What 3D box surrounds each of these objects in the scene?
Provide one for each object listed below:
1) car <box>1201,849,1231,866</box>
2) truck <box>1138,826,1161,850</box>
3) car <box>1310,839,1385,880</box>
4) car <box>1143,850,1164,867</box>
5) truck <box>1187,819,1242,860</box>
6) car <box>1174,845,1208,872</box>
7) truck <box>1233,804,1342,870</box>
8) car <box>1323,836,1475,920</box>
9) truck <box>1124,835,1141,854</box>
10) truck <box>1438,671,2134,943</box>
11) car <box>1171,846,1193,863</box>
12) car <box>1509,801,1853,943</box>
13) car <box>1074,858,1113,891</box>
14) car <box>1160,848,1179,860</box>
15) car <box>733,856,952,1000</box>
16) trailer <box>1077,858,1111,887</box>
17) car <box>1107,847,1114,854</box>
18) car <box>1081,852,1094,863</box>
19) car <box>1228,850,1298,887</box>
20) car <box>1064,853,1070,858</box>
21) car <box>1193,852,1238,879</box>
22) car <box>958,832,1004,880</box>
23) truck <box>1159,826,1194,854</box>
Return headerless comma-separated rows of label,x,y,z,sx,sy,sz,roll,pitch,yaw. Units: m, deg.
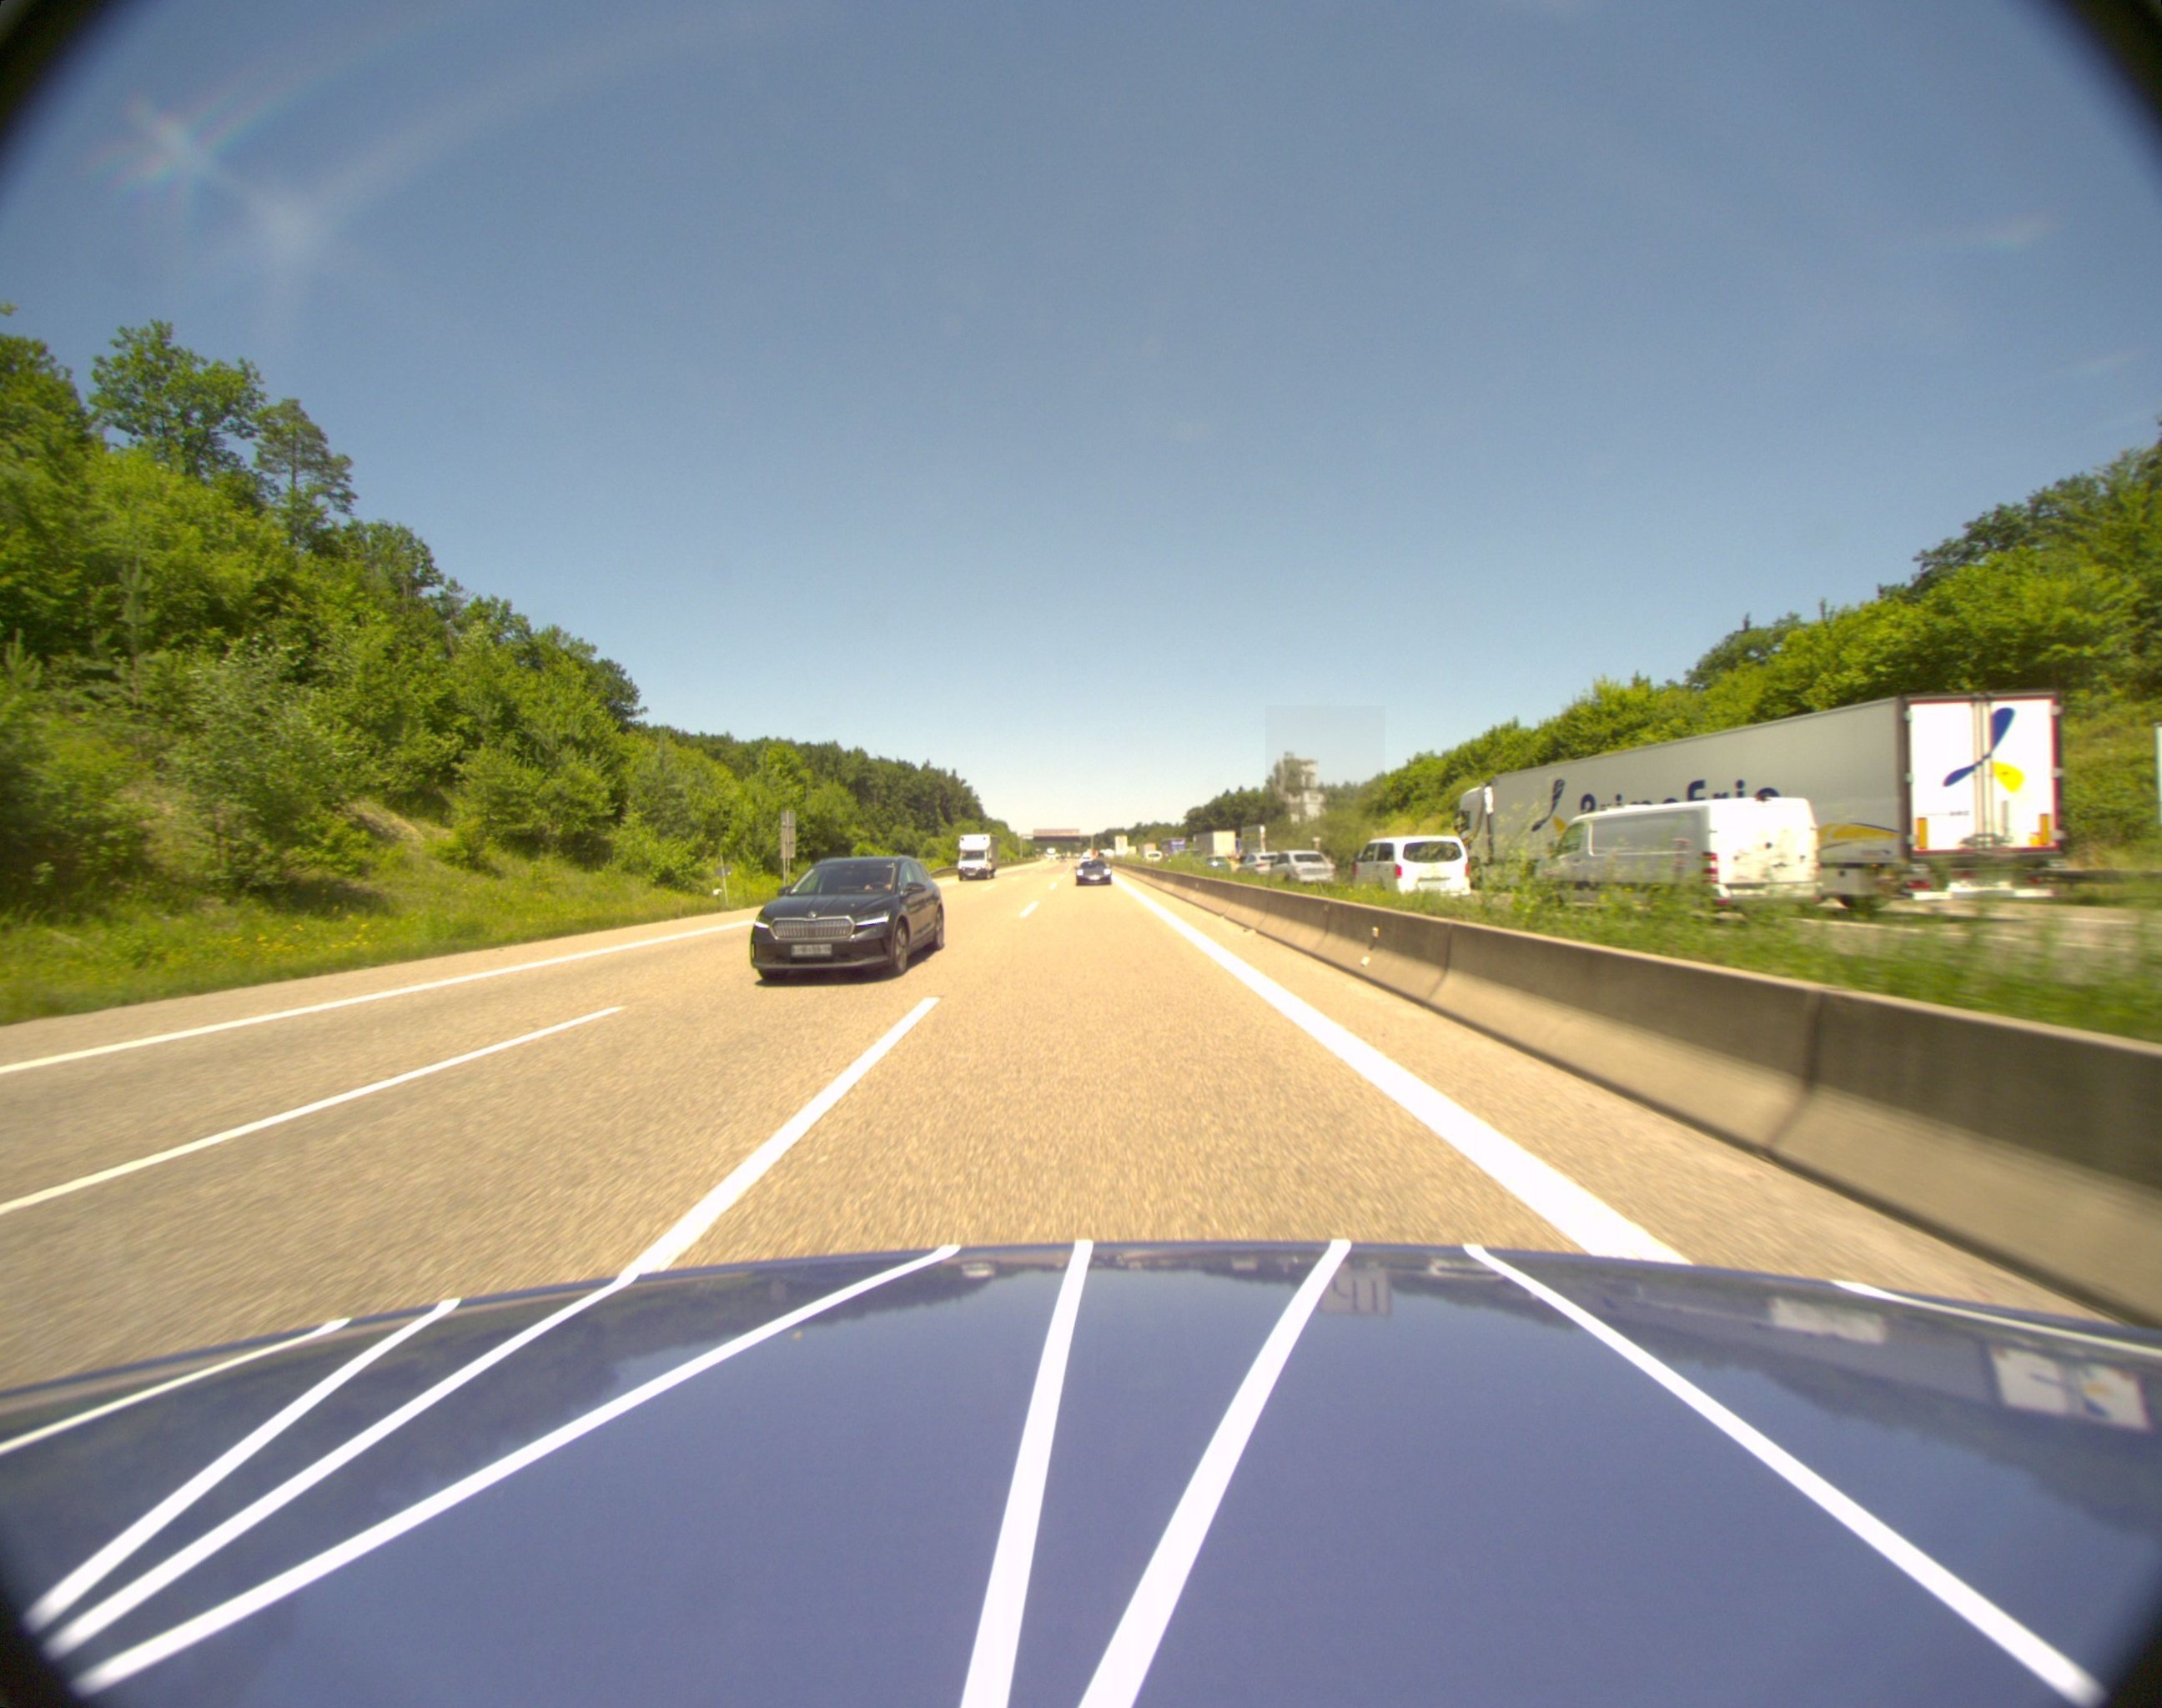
car,12.109,0.298,68.434,1.837,1.462,4.034,-2,1,-1
truck,16.237,-3.767,181.459,3.705,5.470,19.449,-2,1,1
car,13.663,0.213,39.359,2.189,1.930,5.886,-2,1,5
car,8.583,0.489,90.018,1.986,1.833,5.019,-2,1,0
truck,16.421,-1.780,95.512,3.705,4.431,19.449,-2,1,1
car,8.592,0.309,59.898,1.831,1.905,4.971,-2,1,-1
truck,16.102,-1.306,61.739,3.705,4.431,19.449,-2,1,1
car,8.551,0.535,21.125,1.831,1.966,5.664,-2,1,0
truck,15.350,-2.806,227.520,3.705,5.470,19.449,-2,1,1
truck,15.949,-0.904,21.459,3.705,4.431,17.379,-2,1,1
car,12.192,0.019,91.888,1.896,2.012,4.757,-2,1,-1
car,12.134,0.265,16.299,2.190,2.371,6.540,-2,1,0
car,0.670,0.957,36.981,1.718,1.431,4.458,-2,0,3
car,12.557,-0.043,107.980,1.896,1.669,4.757,-2,1,-1
car,-3.267,0.906,11.466,1.990,1.610,4.455,-2,1,-2
trailer,0.721,0.944,40.340,1.689,1.399,3.046,-1,0,3
car,7.507,-0.890,192.077,1.674,1.745,4.249,-2,1,0
car,0.938,0.475,106.822,1.718,1.432,4.456,-1,1,1
car,8.305,0.623,35.124,1.831,1.469,5.398,-2,1,-1
car,-4.140,0.433,219.615,1.719,1.431,4.015,-1,0,-1
car,8.388,0.671,47.901,1.831,1.469,4.971,-2,1,-1
car,-7.338,0.101,56.916,2.303,3.317,7.621,-2,1,0
truck,16.430,-2.438,132.688,3.705,4.431,19.449,-2,1,1
